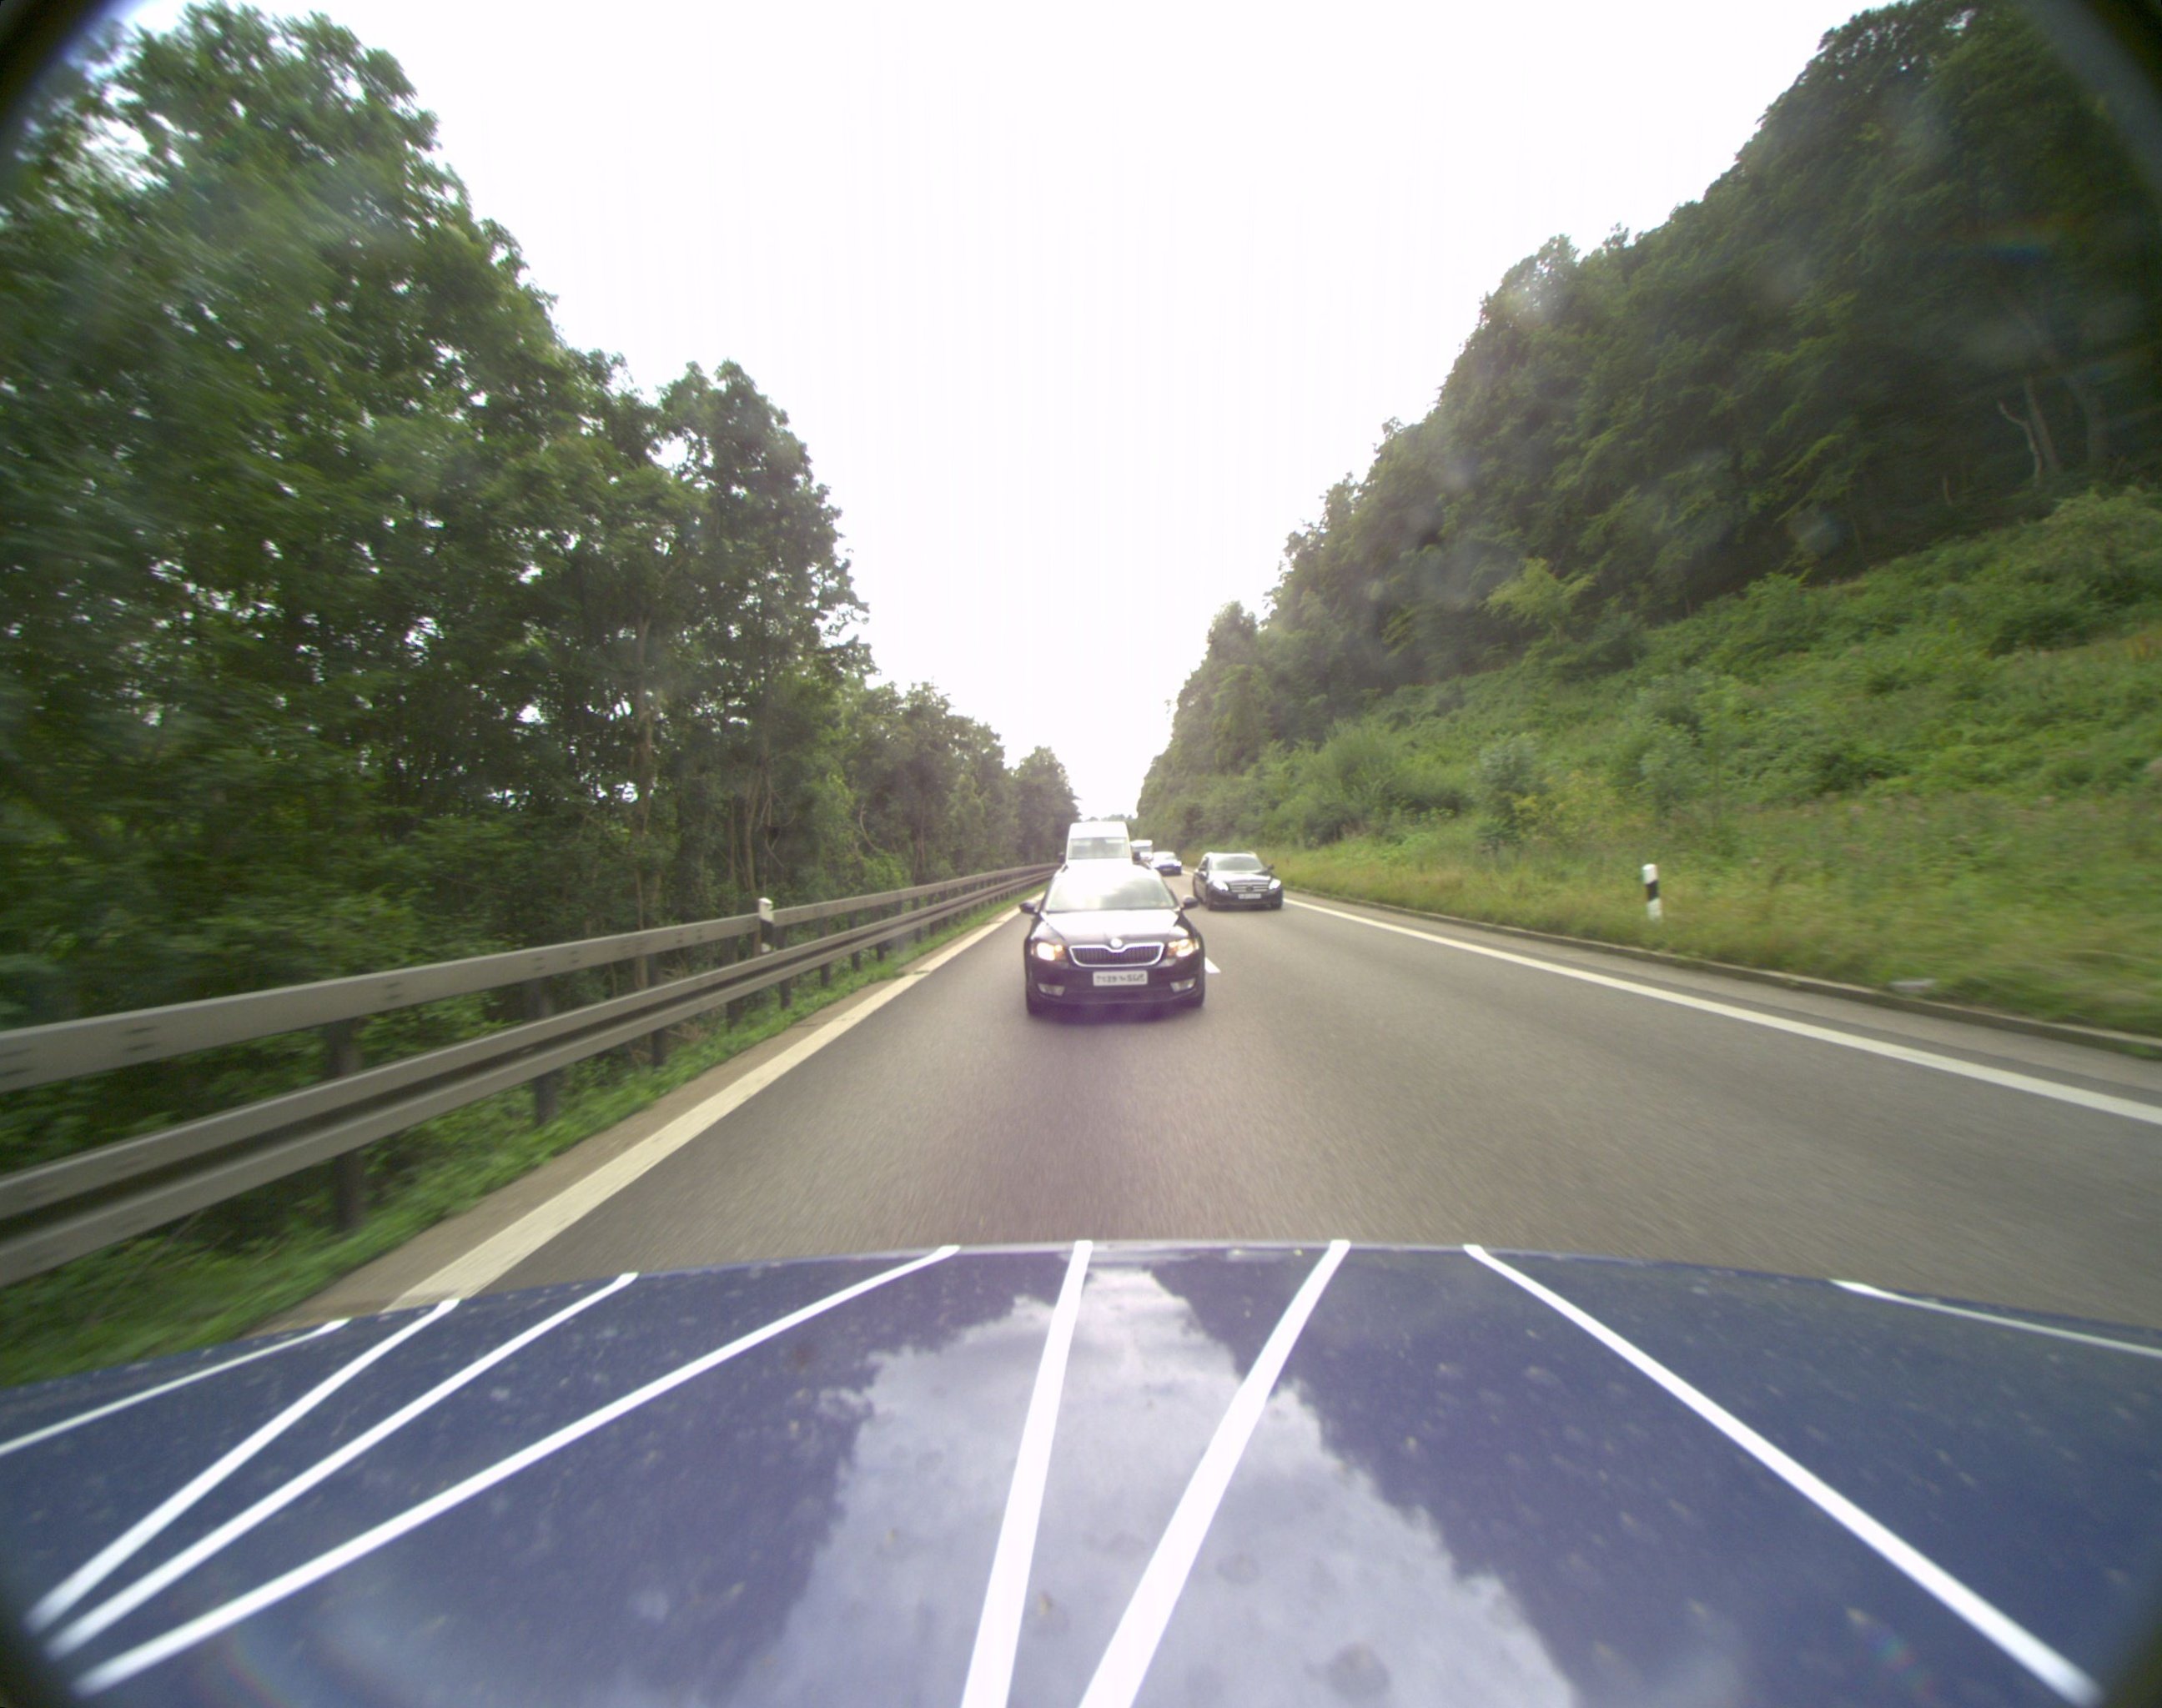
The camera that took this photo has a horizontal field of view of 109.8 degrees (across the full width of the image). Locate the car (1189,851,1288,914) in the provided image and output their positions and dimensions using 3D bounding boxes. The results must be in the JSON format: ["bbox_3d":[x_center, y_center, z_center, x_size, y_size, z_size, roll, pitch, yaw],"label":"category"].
[{"bbox_3d":[4.120,0.685,20.635,1.765,1.455,5.123,-1,0,2],"label":"car"}]

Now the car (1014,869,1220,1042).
[{"bbox_3d":[0.282,0.916,8.770,1.751,1.409,4.401,-1,0,-1],"label":"car"}]

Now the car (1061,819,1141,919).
[{"bbox_3d":[0.612,0.365,22.086,2.000,2.545,5.128,-1,0,2],"label":"car"}]

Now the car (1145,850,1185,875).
[{"bbox_3d":[5.101,0.486,46.758,1.841,1.460,4.554,-1,0,-2],"label":"car"}]

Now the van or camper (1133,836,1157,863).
[{"bbox_3d":[6.878,-0.487,81.848,2.270,2.719,7.025,-1,0,3],"label":"van or camper"}]
